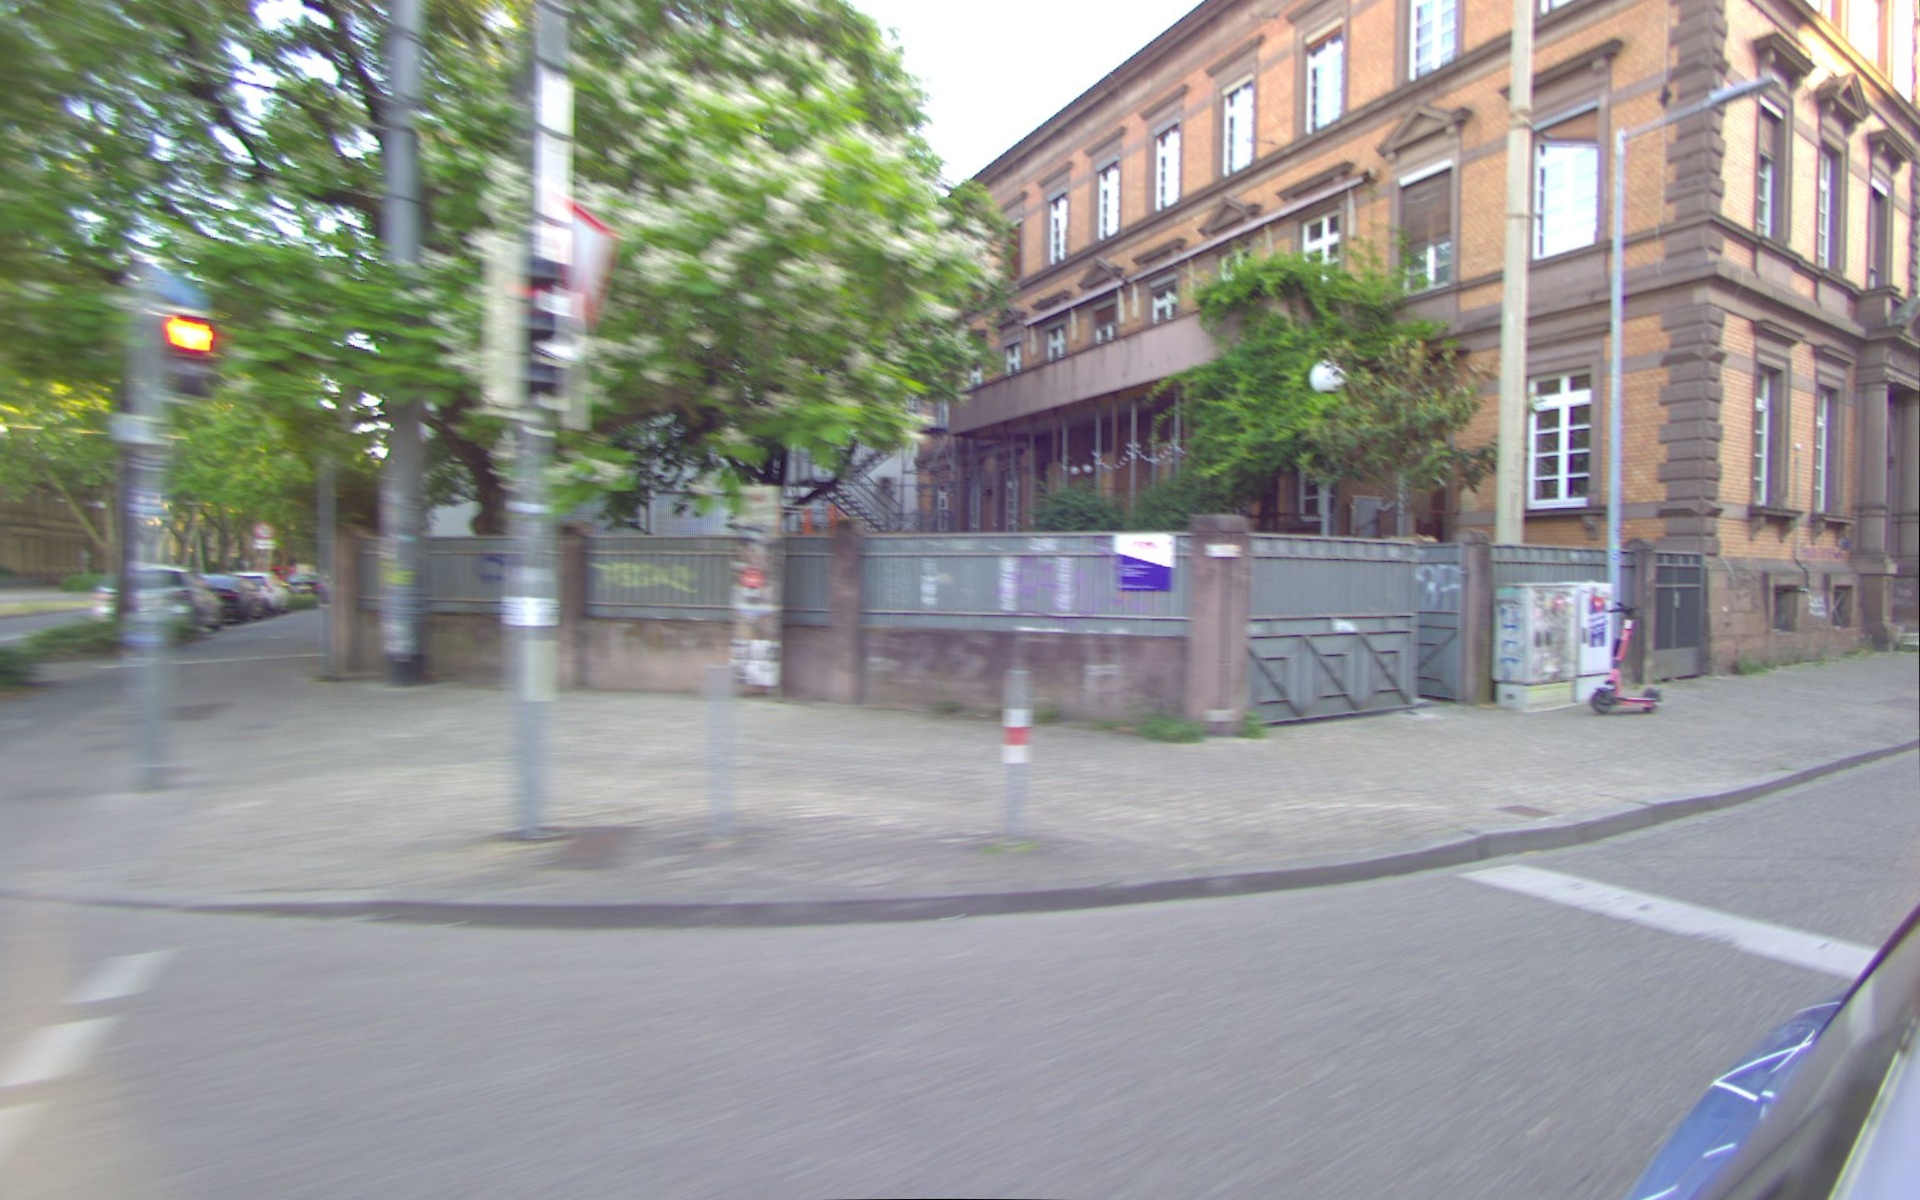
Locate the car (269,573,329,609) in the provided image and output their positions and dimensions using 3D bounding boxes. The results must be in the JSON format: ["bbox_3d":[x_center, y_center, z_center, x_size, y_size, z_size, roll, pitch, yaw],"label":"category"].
[{"bbox_3d":[-31.627,-0.459,48.514,1.876,1.571,4.007,-2,3,-26],"label":"car"}]

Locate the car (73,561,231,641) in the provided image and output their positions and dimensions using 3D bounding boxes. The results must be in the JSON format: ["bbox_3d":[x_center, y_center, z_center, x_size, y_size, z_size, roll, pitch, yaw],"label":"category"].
[{"bbox_3d":[-17.835,-0.047,22.547,1.876,1.571,4.007,-2,3,-26],"label":"car"}]

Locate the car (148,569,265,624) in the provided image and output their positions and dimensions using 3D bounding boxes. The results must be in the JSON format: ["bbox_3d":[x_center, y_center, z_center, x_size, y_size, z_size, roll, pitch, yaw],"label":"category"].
[{"bbox_3d":[-20.962,-0.159,28.333,1.876,1.381,4.007,-2,3,-26],"label":"car"}]

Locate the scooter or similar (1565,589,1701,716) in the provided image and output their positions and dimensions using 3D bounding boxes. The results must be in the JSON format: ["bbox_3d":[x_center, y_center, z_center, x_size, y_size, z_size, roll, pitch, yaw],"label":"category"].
[{"bbox_3d":[7.431,0.532,11.161,1.552,1.281,0.644,0,3,-33],"label":"scooter or similar"}]

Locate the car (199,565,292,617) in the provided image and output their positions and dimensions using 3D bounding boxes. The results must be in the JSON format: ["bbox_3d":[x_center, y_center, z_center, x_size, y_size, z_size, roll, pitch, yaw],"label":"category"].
[{"bbox_3d":[-23.691,-0.355,33.697,1.876,1.571,4.007,-2,3,-26],"label":"car"}]
